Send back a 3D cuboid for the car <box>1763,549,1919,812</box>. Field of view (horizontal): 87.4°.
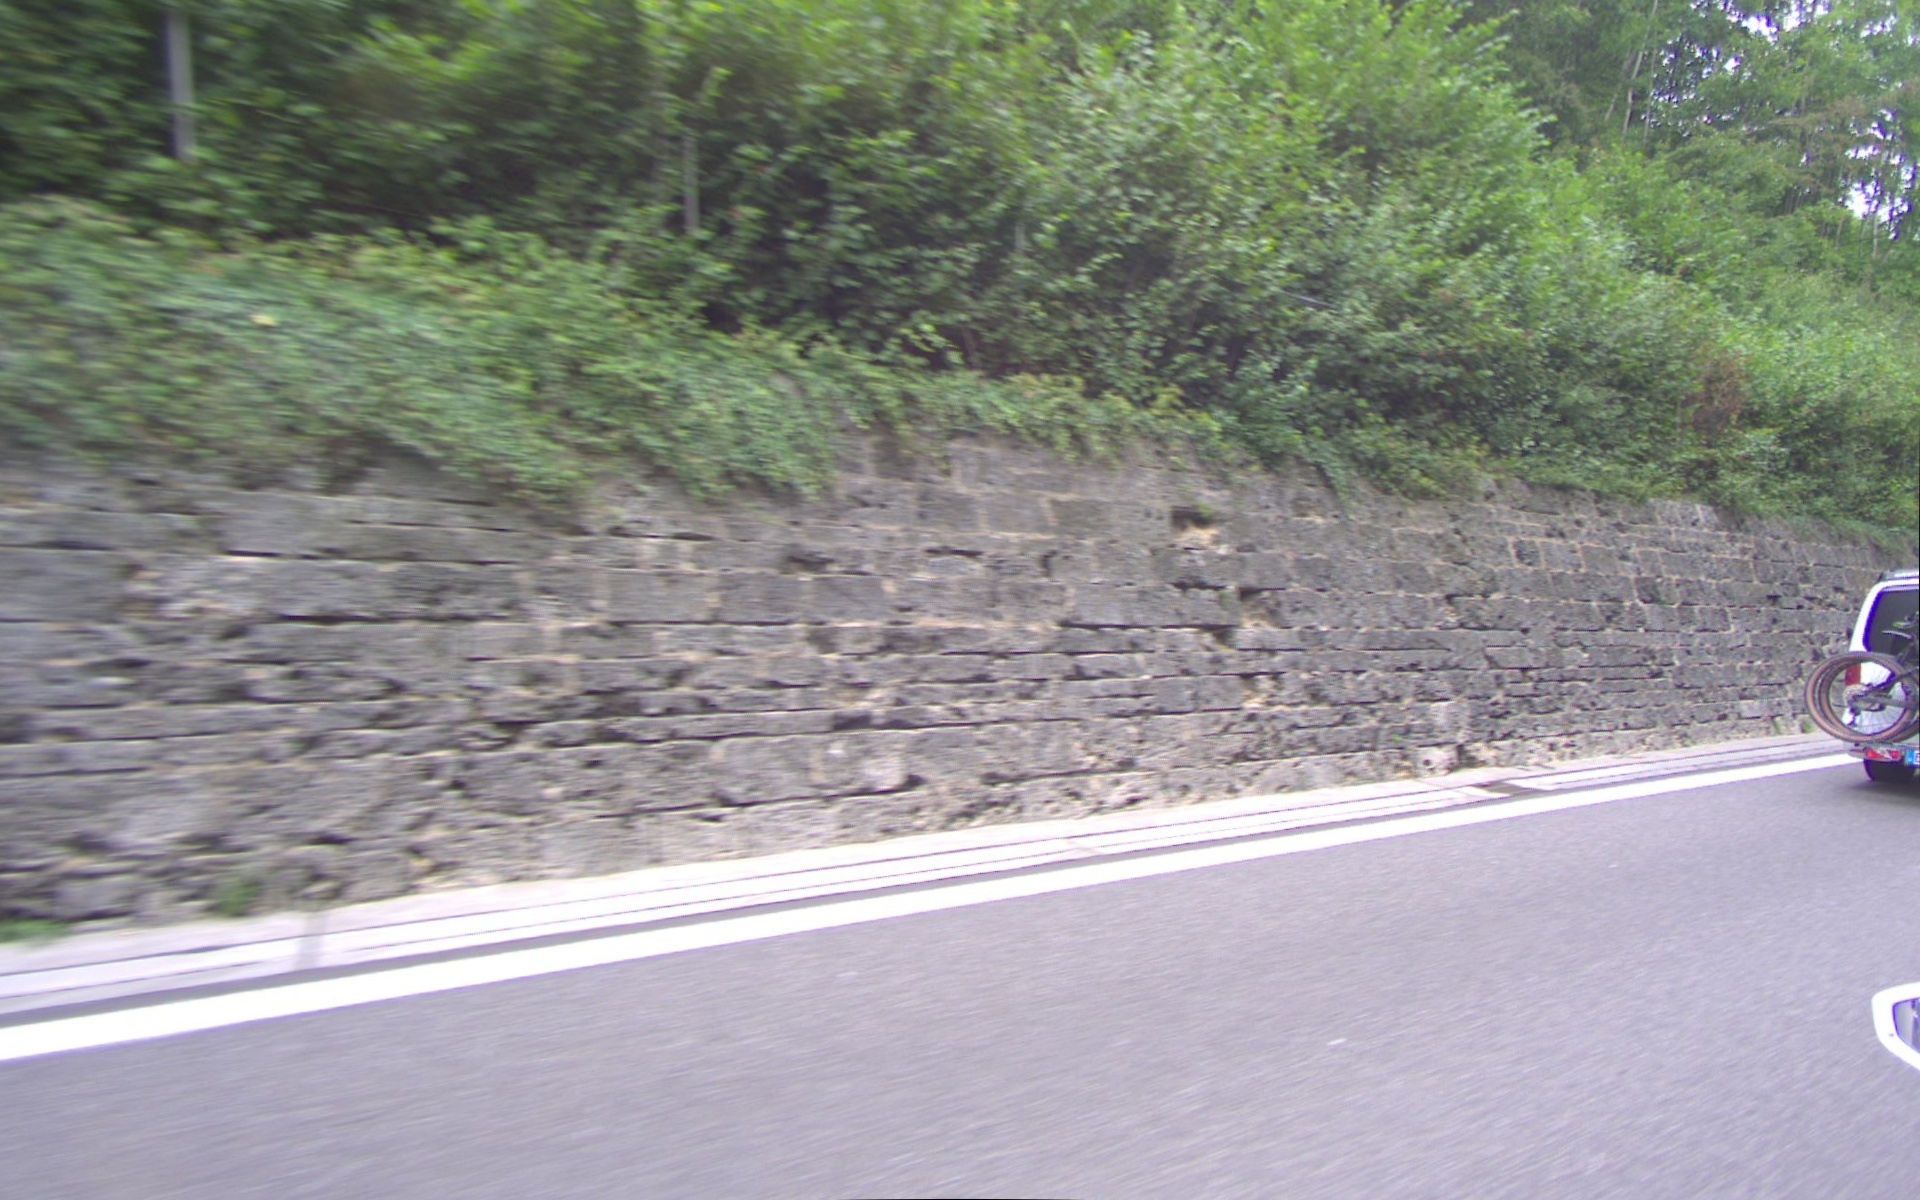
[{"bbox_3d":[9.847,0.653,9.115,6.076,1.979,1.983,1,0,-31],"label":"car"}]
